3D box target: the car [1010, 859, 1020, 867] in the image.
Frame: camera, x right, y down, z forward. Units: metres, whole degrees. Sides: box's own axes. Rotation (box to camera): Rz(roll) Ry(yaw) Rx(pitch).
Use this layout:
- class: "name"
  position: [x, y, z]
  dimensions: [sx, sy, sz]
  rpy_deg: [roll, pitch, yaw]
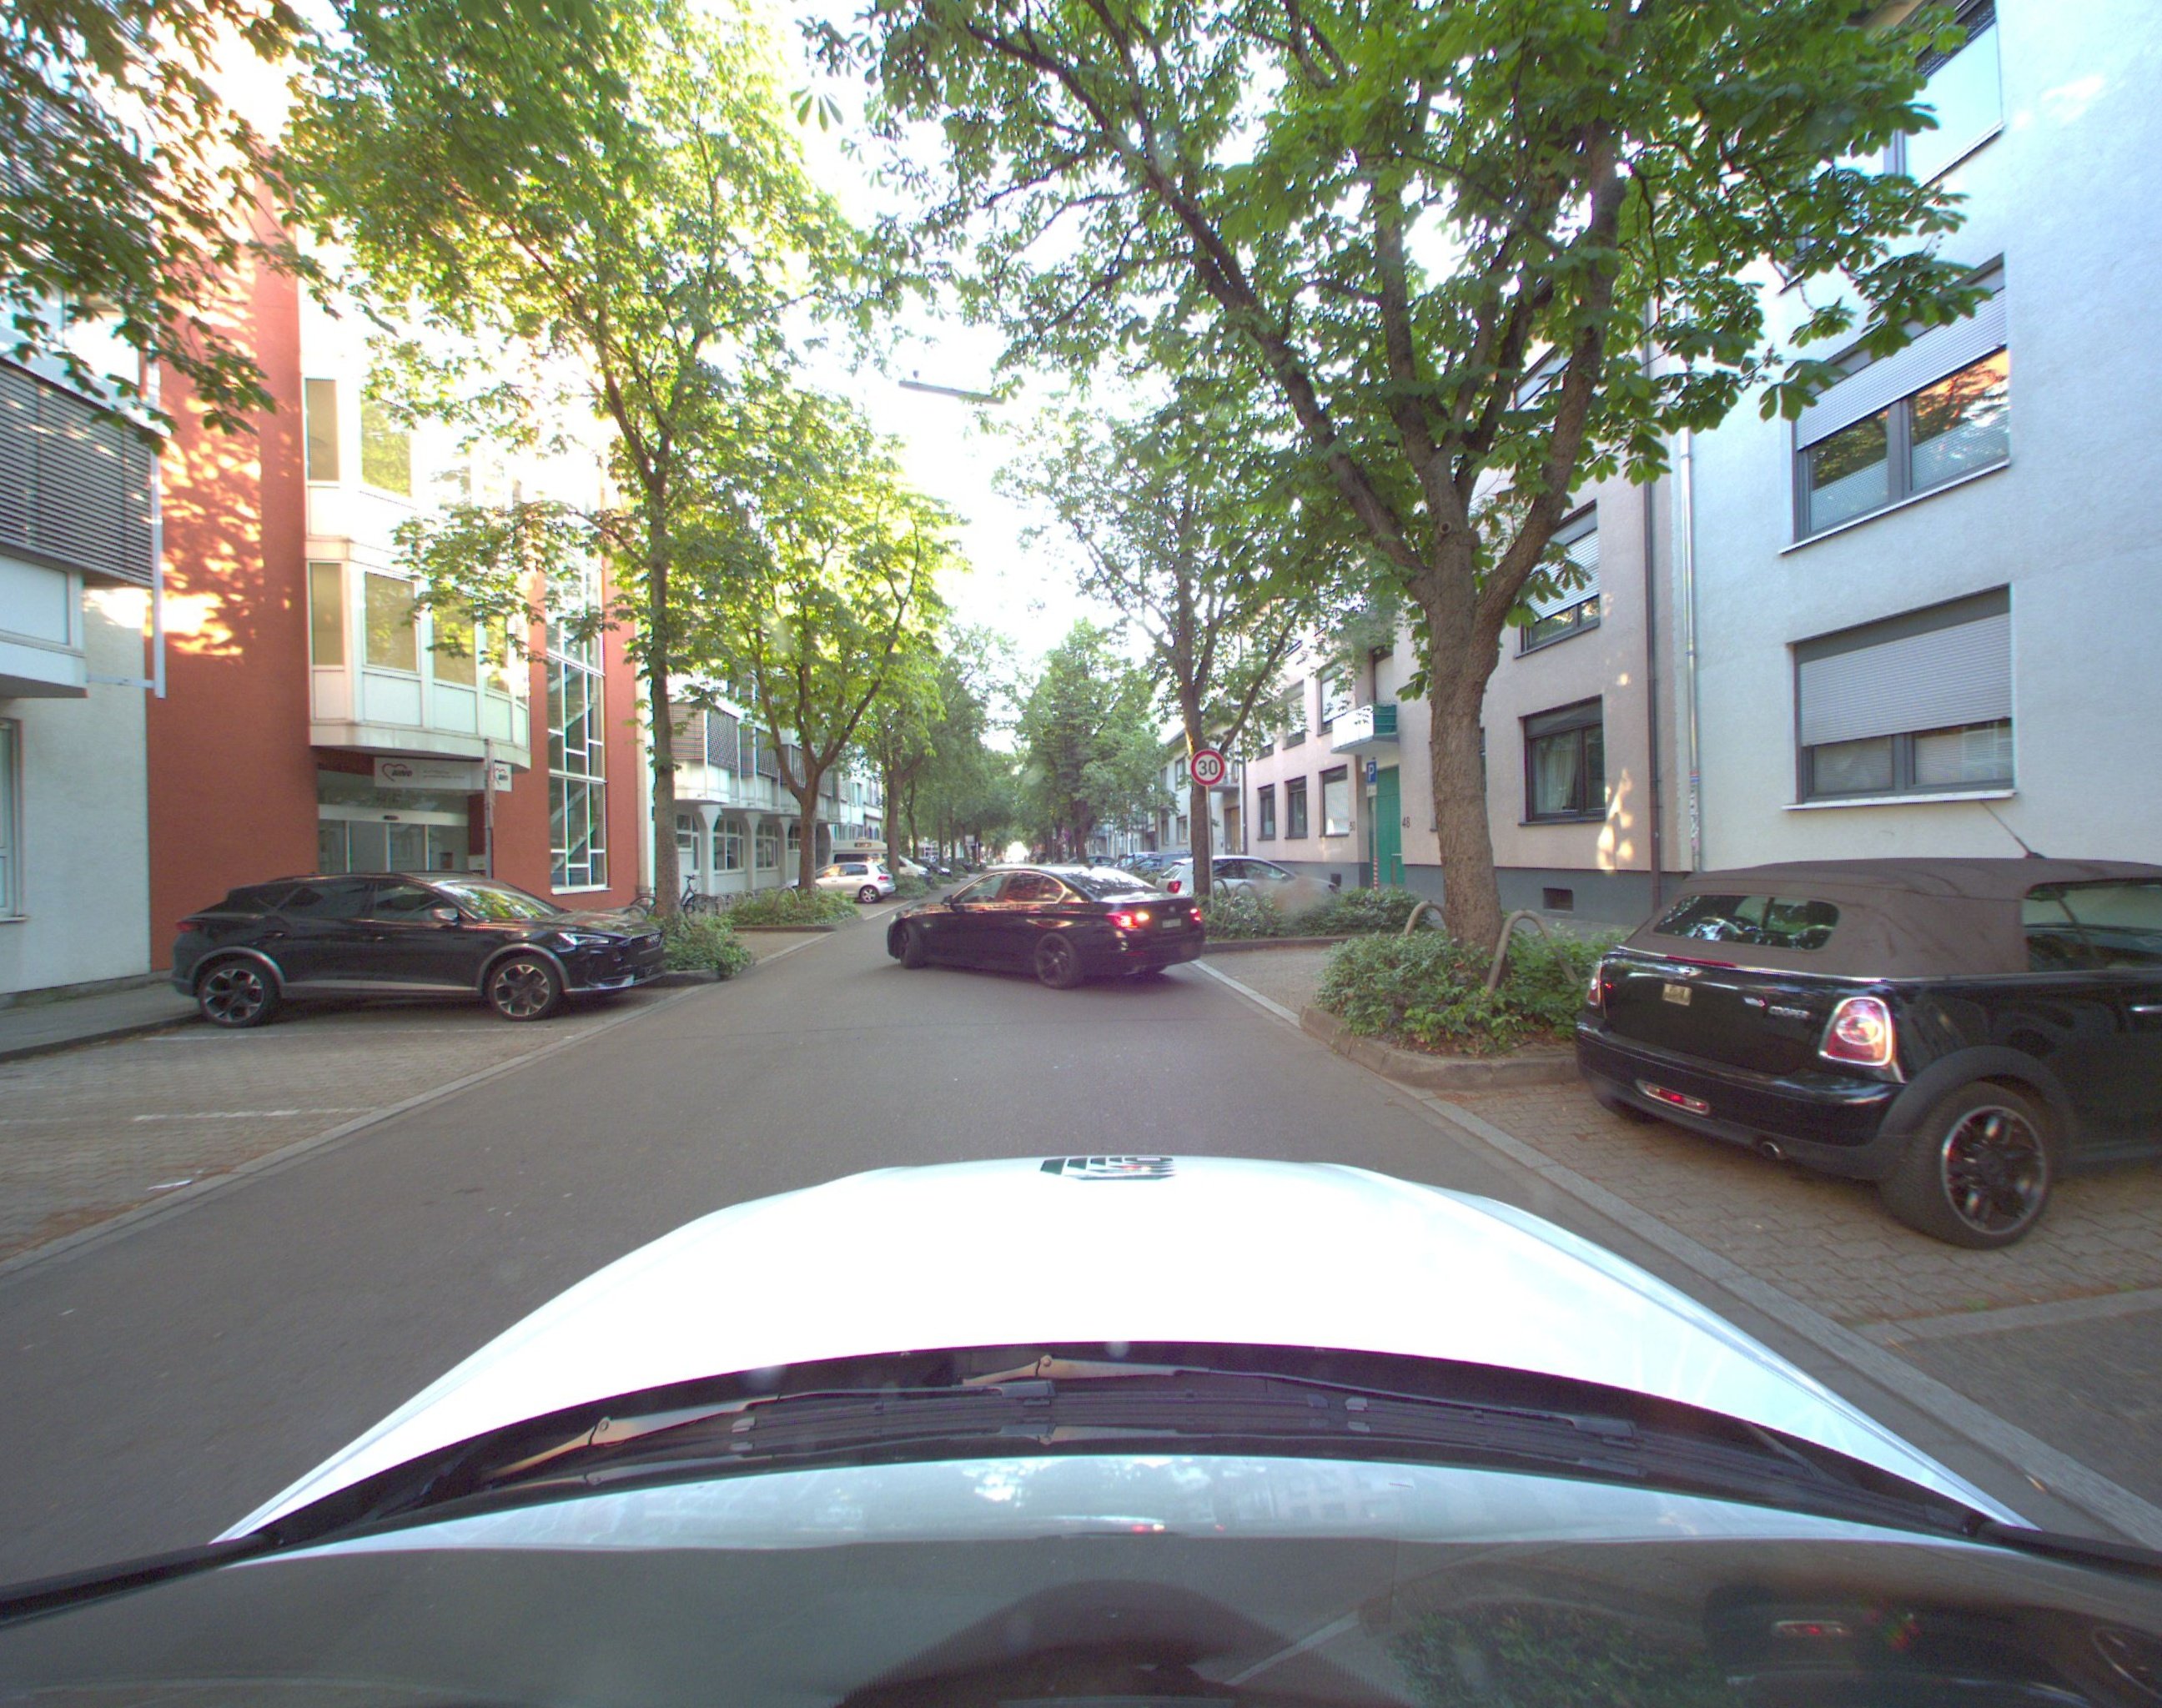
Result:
- class: "car"
  position: [-13.045, 1.783, 161.167]
  dimensions: [1.891, 1.475, 3.995]
  rpy_deg: [-1, 0, -4]

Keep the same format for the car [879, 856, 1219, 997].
- class: "car"
  position: [-0.625, 0.801, 10.822]
  dimensions: [4.609, 1.450, 1.779]
  rpy_deg: [-1, 0, 43]

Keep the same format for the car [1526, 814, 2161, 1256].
- class: "car"
  position: [4.464, 0.612, 4.049]
  dimensions: [3.703, 1.428, 1.622]
  rpy_deg: [-4, 0, -10]

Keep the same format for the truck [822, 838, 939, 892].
- class: "truck"
  position: [-9.301, 0.472, 38.067]
  dimensions: [4.989, 2.441, 1.914]
  rpy_deg: [0, 1, -4]

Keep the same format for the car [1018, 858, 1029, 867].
- class: "car"
  position: [-10.687, 1.633, 152.079]
  dimensions: [1.990, 1.552, 3.993]
  rpy_deg: [-1, 0, -5]

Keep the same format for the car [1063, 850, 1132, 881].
- class: "car"
  position: [0.926, 0.624, 45.676]
  dimensions: [3.653, 1.536, 1.562]
  rpy_deg: [-2, 0, -7]

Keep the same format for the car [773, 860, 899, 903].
- class: "car"
  position: [-8.881, 0.996, 29.786]
  dimensions: [4.125, 1.471, 1.637]
  rpy_deg: [0, 0, -5]

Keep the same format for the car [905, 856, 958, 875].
- class: "car"
  position: [-12.013, 0.918, 65.730]
  dimensions: [4.015, 1.471, 1.637]
  rpy_deg: [0, 0, -5]

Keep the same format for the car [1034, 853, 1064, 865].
- class: "car"
  position: [-4.046, 0.609, 101.953]
  dimensions: [3.653, 1.393, 1.562]
  rpy_deg: [-2, 0, -7]

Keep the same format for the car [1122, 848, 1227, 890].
- class: "car"
  position: [3.507, 0.544, 30.711]
  dimensions: [3.653, 1.393, 1.562]
  rpy_deg: [-2, 0, -7]

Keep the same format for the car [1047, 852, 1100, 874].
- class: "car"
  position: [-0.530, 0.654, 58.511]
  dimensions: [3.653, 1.393, 1.562]
  rpy_deg: [-2, 0, -7]

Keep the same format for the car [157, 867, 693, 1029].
- class: "car"
  position: [-6.963, 0.938, 9.098]
  dimensions: [4.349, 1.509, 1.832]
  rpy_deg: [0, 0, -5]

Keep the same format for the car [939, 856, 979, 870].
- class: "car"
  position: [-12.982, 0.919, 86.729]
  dimensions: [4.015, 1.471, 1.637]
  rpy_deg: [0, 0, -5]

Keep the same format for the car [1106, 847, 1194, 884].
- class: "car"
  position: [3.130, 0.518, 37.350]
  dimensions: [3.788, 1.530, 1.562]
  rpy_deg: [-2, 0, -7]

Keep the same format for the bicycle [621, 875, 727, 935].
- class: "bicycle"
  position: [-8.854, 1.089, 17.776]
  dimensions: [1.973, 1.199, 0.499]
  rpy_deg: [-1, 0, -16]

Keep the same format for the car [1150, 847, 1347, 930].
- class: "car"
  position: [3.390, 0.675, 16.815]
  dimensions: [3.653, 1.479, 1.562]
  rpy_deg: [-2, 0, -7]
